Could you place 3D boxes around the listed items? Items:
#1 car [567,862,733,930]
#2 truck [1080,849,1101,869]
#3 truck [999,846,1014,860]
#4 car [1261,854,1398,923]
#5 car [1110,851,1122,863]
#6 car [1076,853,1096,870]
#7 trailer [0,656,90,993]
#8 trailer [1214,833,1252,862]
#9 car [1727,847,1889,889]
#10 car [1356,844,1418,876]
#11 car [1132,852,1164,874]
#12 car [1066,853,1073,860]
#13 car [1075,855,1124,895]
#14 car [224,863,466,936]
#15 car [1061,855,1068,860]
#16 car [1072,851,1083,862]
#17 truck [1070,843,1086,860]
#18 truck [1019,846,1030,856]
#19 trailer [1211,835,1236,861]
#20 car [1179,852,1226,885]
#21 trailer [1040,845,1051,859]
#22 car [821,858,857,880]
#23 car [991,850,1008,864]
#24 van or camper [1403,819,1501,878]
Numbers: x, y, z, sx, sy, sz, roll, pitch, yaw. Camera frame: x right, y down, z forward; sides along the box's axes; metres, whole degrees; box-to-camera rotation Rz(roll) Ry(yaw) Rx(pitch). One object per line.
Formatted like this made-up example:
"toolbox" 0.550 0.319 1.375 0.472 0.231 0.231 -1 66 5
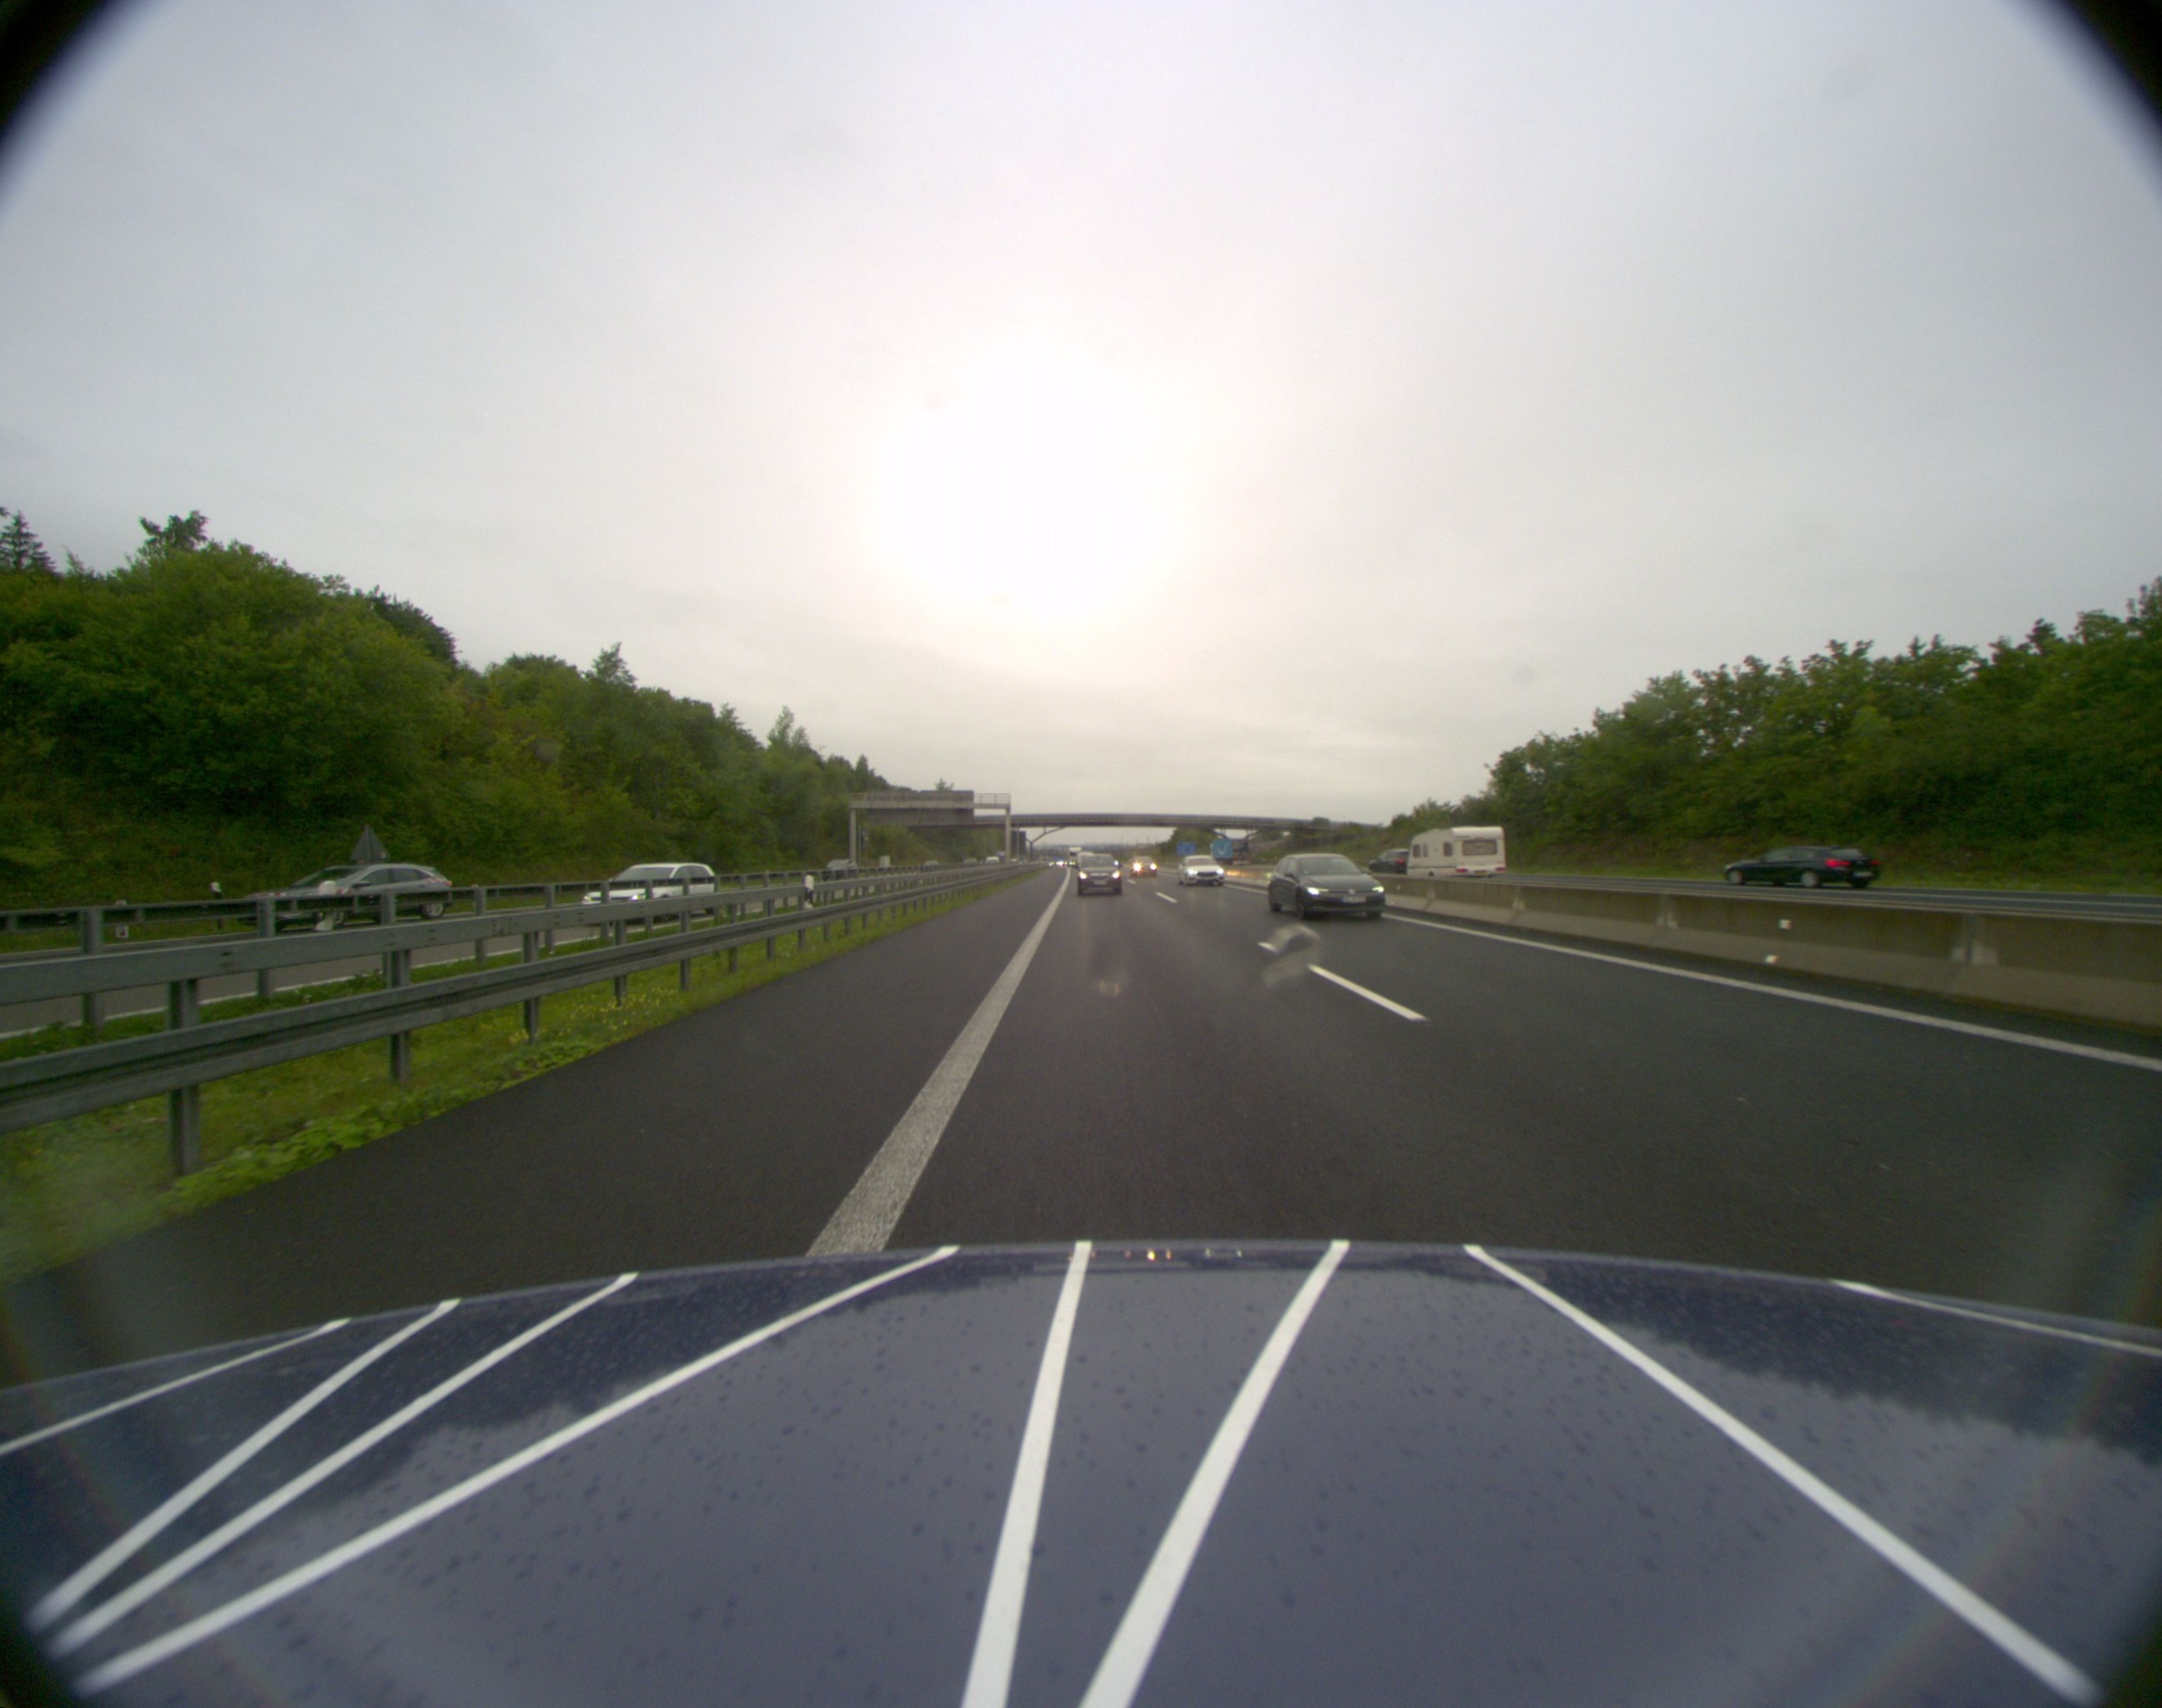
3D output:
"car" -10.862 0.995 19.560 1.864 1.439 4.157 -1 1 0
"truck" 1.040 0.519 86.859 2.175 2.214 5.641 -1 0 0
"truck" -17.775 -0.260 181.333 2.909 3.397 9.279 -1 1 -3
"car" 5.741 0.719 18.172 1.905 1.397 4.459 -1 0 2
"car" 5.344 0.477 116.955 1.715 1.724 4.000 -1 0 1
"car" 0.575 0.790 79.829 1.825 1.669 4.001 -1 1 3
"trailer" -15.359 -0.328 5.166 3.446 4.264 10.452 -1 0 0
"trailer" 23.235 -0.967 116.789 2.797 4.060 13.523 -1 0 -1
"car" 24.380 0.441 25.700 1.693 1.286 3.923 -1 0 0
"car" 16.216 0.302 40.487 1.531 1.611 4.388 -1 0 0
"car" 4.876 0.635 55.783 1.905 1.497 4.113 -1 0 0
"car" -2.871 0.691 190.439 1.715 1.724 4.000 -1 0 1
"car" 0.835 0.833 31.672 1.905 1.497 4.115 -1 0 3
"car" -19.502 1.126 20.493 1.864 1.605 4.500 -1 1 5
"car" -5.326 1.105 250.012 1.916 1.671 4.000 -1 1 3
"car" -0.634 0.374 128.688 1.715 1.724 4.000 -1 0 1
"truck" -0.615 -0.631 161.347 3.153 3.332 13.099 -1 1 0
"truck" -18.569 -1.043 249.701 2.909 3.397 13.350 -1 1 -1
"trailer" 23.106 -0.985 123.648 2.797 4.060 6.041 -1 0 -1
"car" 5.998 0.673 37.913 1.905 1.497 4.115 -1 0 3
"trailer" -10.220 -0.625 220.642 2.547 3.799 11.329 -1 0 0
"car" -18.708 1.107 58.917 1.866 1.573 4.237 -1 1 -8
"car" -11.266 0.405 105.023 1.864 1.795 4.647 -1 1 0
"van or camper" 16.824 -0.255 34.838 1.800 2.455 5.547 -1 0 0
